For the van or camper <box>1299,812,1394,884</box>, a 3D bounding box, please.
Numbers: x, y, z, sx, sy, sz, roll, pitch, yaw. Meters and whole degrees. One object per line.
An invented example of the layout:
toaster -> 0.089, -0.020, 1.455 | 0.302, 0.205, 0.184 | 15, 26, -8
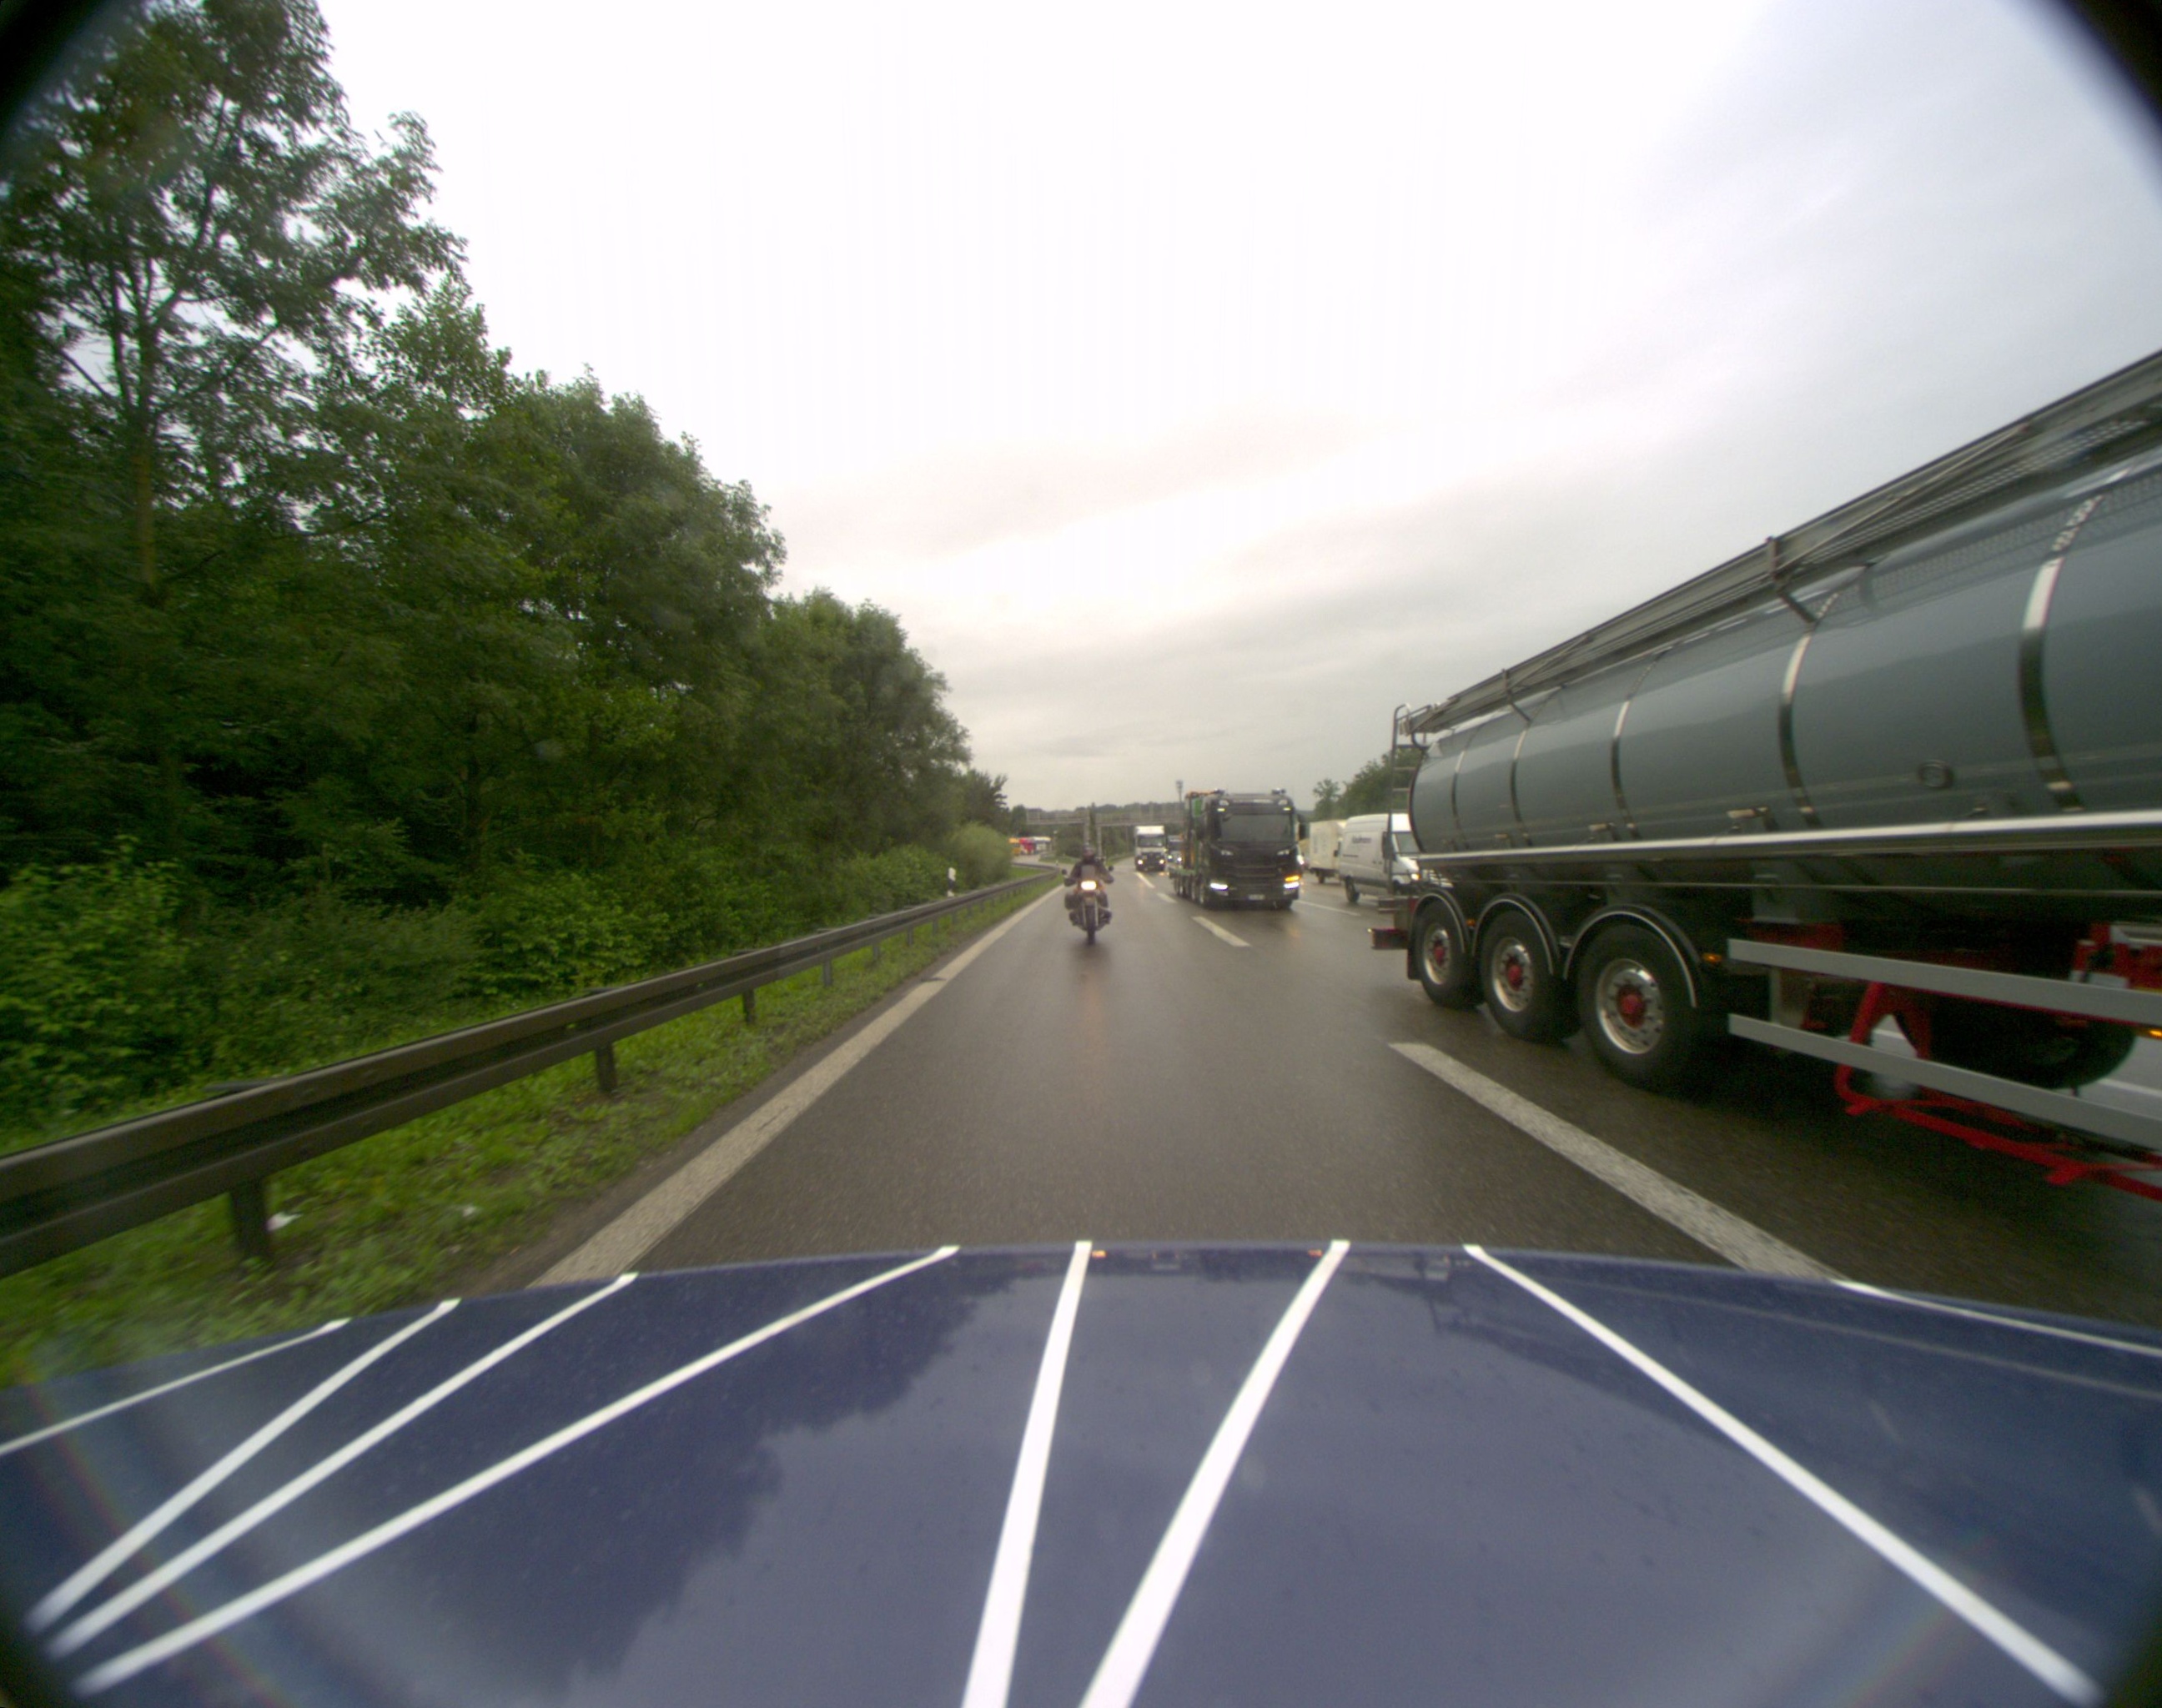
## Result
van or camper -> 12.982, -0.317, 37.810 | 2.585, 3.186, 7.131 | -1, 1, 3

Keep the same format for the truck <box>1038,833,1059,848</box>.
truck -> -9.761, -4.120, 227.215 | 3.252, 4.362, 5.797 | -4, 3, -41

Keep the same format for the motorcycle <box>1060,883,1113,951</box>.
motorcycle -> 0.131, 1.111, 14.001 | 0.878, 1.016, 2.352 | -1, 1, 2

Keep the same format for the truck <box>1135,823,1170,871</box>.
truck -> 6.495, -0.704, 68.679 | 2.924, 4.076, 6.720 | -1, 1, 5

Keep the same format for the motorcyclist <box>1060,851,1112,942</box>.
motorcyclist -> 0.118, 0.743, 13.872 | 0.878, 1.559, 1.373 | -1, 1, 2

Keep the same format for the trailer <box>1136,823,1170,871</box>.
trailer -> 7.064, -0.789, 74.846 | 2.924, 4.181, 13.638 | -1, 1, 5

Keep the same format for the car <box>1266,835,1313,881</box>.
car -> 13.996, 0.225, 51.324 | 1.998, 2.819, 3.999 | -4, 2, 2

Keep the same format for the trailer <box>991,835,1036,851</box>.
trailer -> -17.413, -2.933, 194.459 | 3.252, 3.897, 14.788 | -3, 2, -41

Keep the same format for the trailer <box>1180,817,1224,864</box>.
trailer -> 10.910, -1.182, 69.708 | 2.633, 3.842, 13.678 | -1, 1, 4

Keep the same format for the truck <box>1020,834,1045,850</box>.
truck -> -12.548, -3.031, 194.415 | 2.905, 3.897, 6.537 | -3, 3, -41

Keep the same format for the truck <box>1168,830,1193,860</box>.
truck -> 15.378, -1.528, 118.450 | 3.354, 4.048, 12.574 | -4, 2, 7

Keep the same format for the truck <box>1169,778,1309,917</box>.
truck -> 4.765, -0.224, 25.560 | 2.837, 3.568, 11.798 | 0, 1, 3

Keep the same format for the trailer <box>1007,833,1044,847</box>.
trailer -> -16.292, -4.044, 223.107 | 3.252, 4.069, 13.494 | -3, 3, -41

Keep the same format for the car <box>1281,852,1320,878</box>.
car -> 17.823, 0.838, 61.791 | 1.998, 2.002, 4.217 | -1, 0, 1

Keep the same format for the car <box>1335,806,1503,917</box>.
car -> 9.072, 0.133, 21.121 | 2.220, 2.614, 5.843 | -1, 1, 2

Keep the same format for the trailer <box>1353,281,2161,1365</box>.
trailer -> 4.716, -0.107, 4.164 | 2.881, 3.269, 10.077 | -1, 0, 0

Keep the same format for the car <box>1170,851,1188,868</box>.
car -> 12.147, 0.668, 94.268 | 1.762, 1.762, 4.000 | -4, 2, 4

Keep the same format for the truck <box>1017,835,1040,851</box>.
truck -> -12.999, -2.817, 189.375 | 3.252, 3.897, 5.007 | -3, 3, -41

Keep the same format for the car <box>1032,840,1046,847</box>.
car -> -11.714, -2.880, 211.773 | 1.851, 1.848, 3.989 | -4, 3, -39

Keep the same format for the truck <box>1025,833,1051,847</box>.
truck -> -12.324, -3.989, 218.580 | 3.252, 4.069, 7.915 | -3, 3, -41

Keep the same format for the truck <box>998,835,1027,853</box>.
truck -> -15.949, -2.319, 175.875 | 2.845, 3.897, 8.107 | -2, 2, -37
